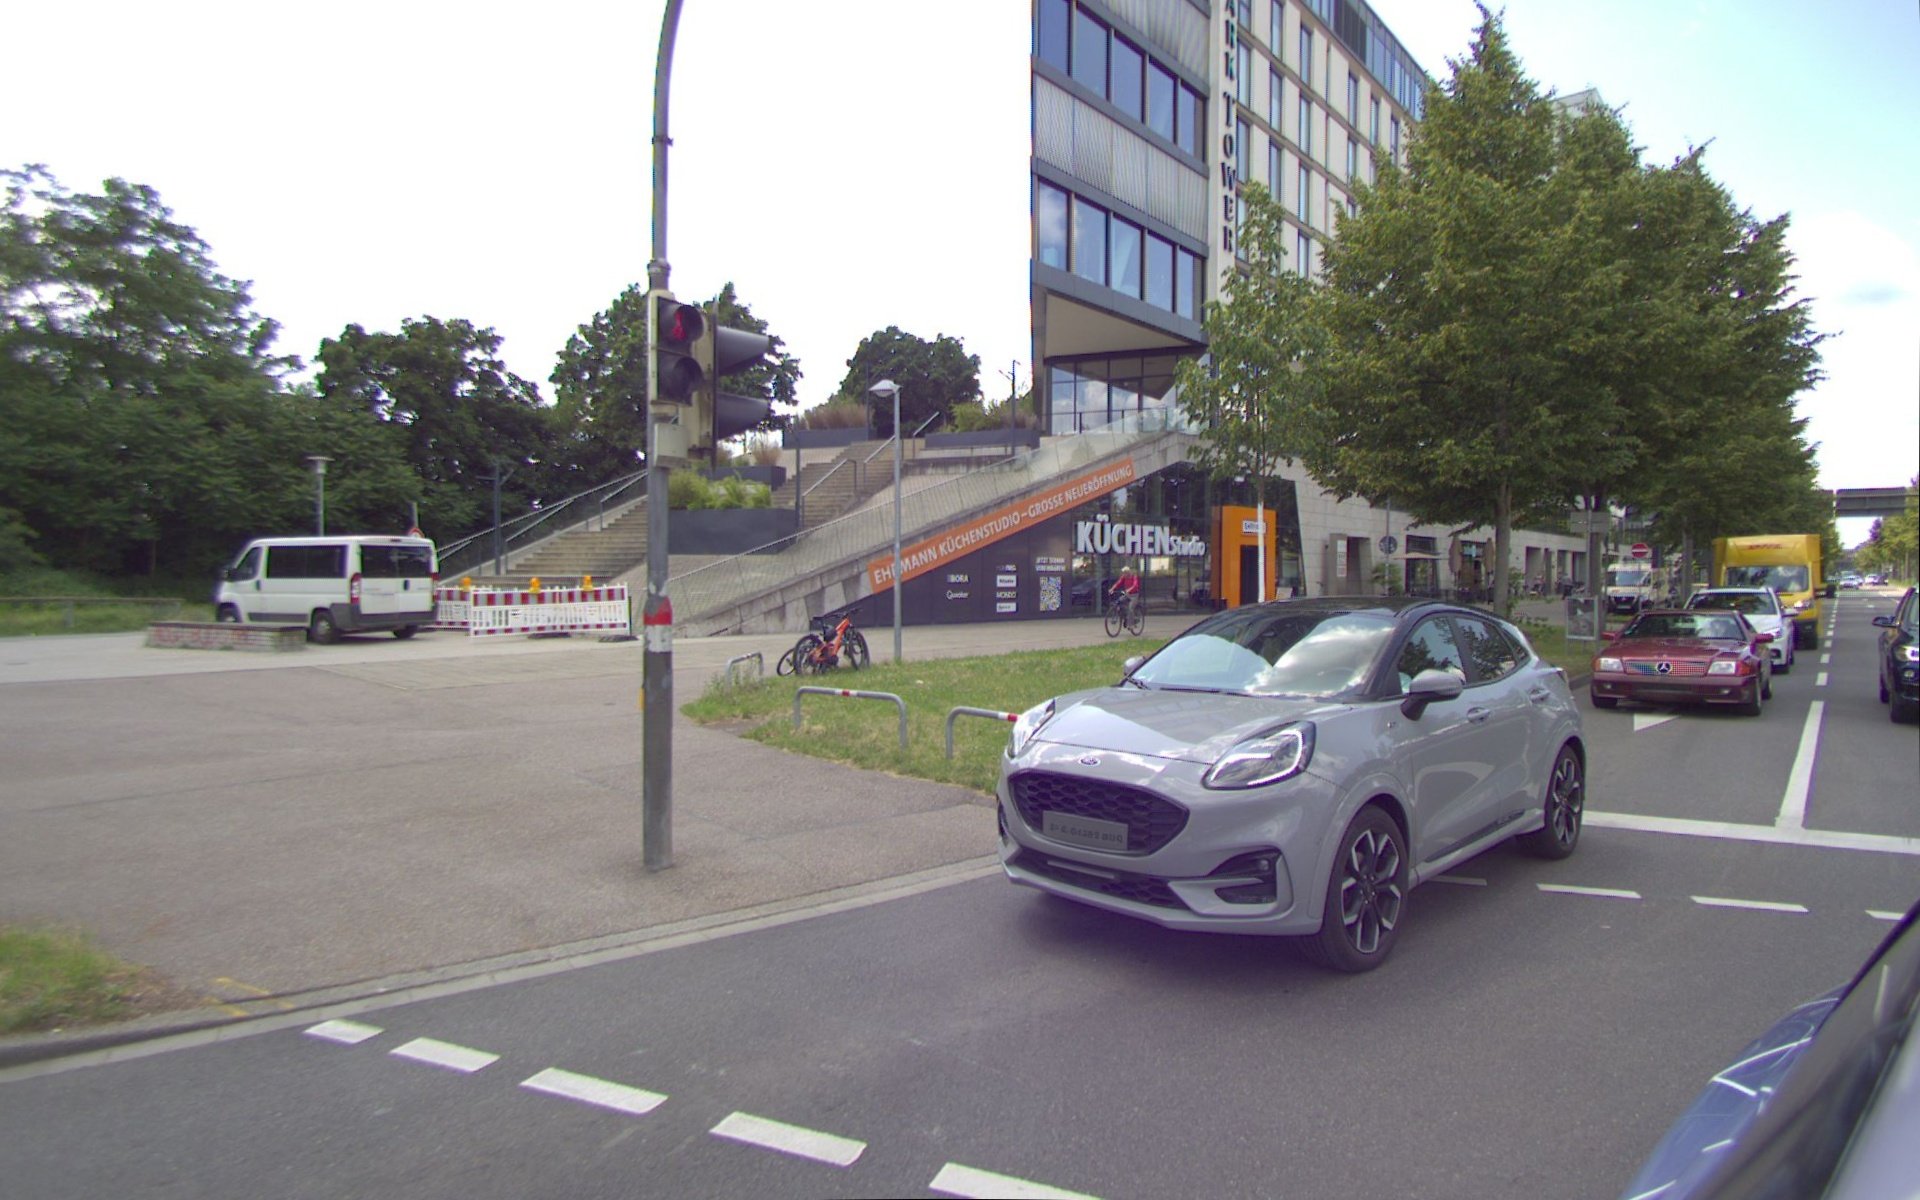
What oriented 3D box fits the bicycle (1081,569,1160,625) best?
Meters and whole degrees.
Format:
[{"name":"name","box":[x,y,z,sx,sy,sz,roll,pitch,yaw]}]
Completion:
[{"name":"bicycle","box":[3.940,-0.061,24.628,0.808,1.260,2.377,2,0,38]}]

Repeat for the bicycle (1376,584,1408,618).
[{"name":"bicycle","box":[14.182,0.021,33.217,0.514,1.102,1.725,2,1,38]}]

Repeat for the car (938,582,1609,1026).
[{"name":"car","box":[1.931,0.671,5.411,4.024,1.490,1.671,-1,0,-44]}]

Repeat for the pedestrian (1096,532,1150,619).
[{"name":"pedestrian","box":[3.971,-0.575,24.634,0.751,2.039,1.214,0,-1,40]}]

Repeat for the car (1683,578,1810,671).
[{"name":"car","box":[15.383,0.411,19.717,1.668,1.619,4.065,-1,0,42]}]

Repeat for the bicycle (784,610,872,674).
[{"name":"bicycle","box":[-1.869,0.581,14.487,0.356,0.836,1.454,1,1,36]}]

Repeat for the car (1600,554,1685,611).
[{"name":"car","box":[31.349,-0.806,46.363,2.155,2.424,6.179,-2,0,44]}]

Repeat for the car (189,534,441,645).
[{"name":"car","box":[-13.964,-0.228,21.898,5.093,2.175,2.133,0,0,23]}]

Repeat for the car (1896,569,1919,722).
[{"name":"car","box":[12.303,0.433,11.905,1.768,1.619,4.066,-2,0,42]}]

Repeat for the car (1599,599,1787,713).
[{"name":"car","box":[10.093,0.669,13.817,1.668,1.277,4.031,-2,0,42]}]

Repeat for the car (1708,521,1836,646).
[{"name":"car","box":[21.631,-0.440,26.823,2.276,2.889,7.148,-1,0,41]}]

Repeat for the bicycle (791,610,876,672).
[{"name":"bicycle","box":[-1.853,0.580,14.946,0.356,0.836,1.454,1,1,36]}]
